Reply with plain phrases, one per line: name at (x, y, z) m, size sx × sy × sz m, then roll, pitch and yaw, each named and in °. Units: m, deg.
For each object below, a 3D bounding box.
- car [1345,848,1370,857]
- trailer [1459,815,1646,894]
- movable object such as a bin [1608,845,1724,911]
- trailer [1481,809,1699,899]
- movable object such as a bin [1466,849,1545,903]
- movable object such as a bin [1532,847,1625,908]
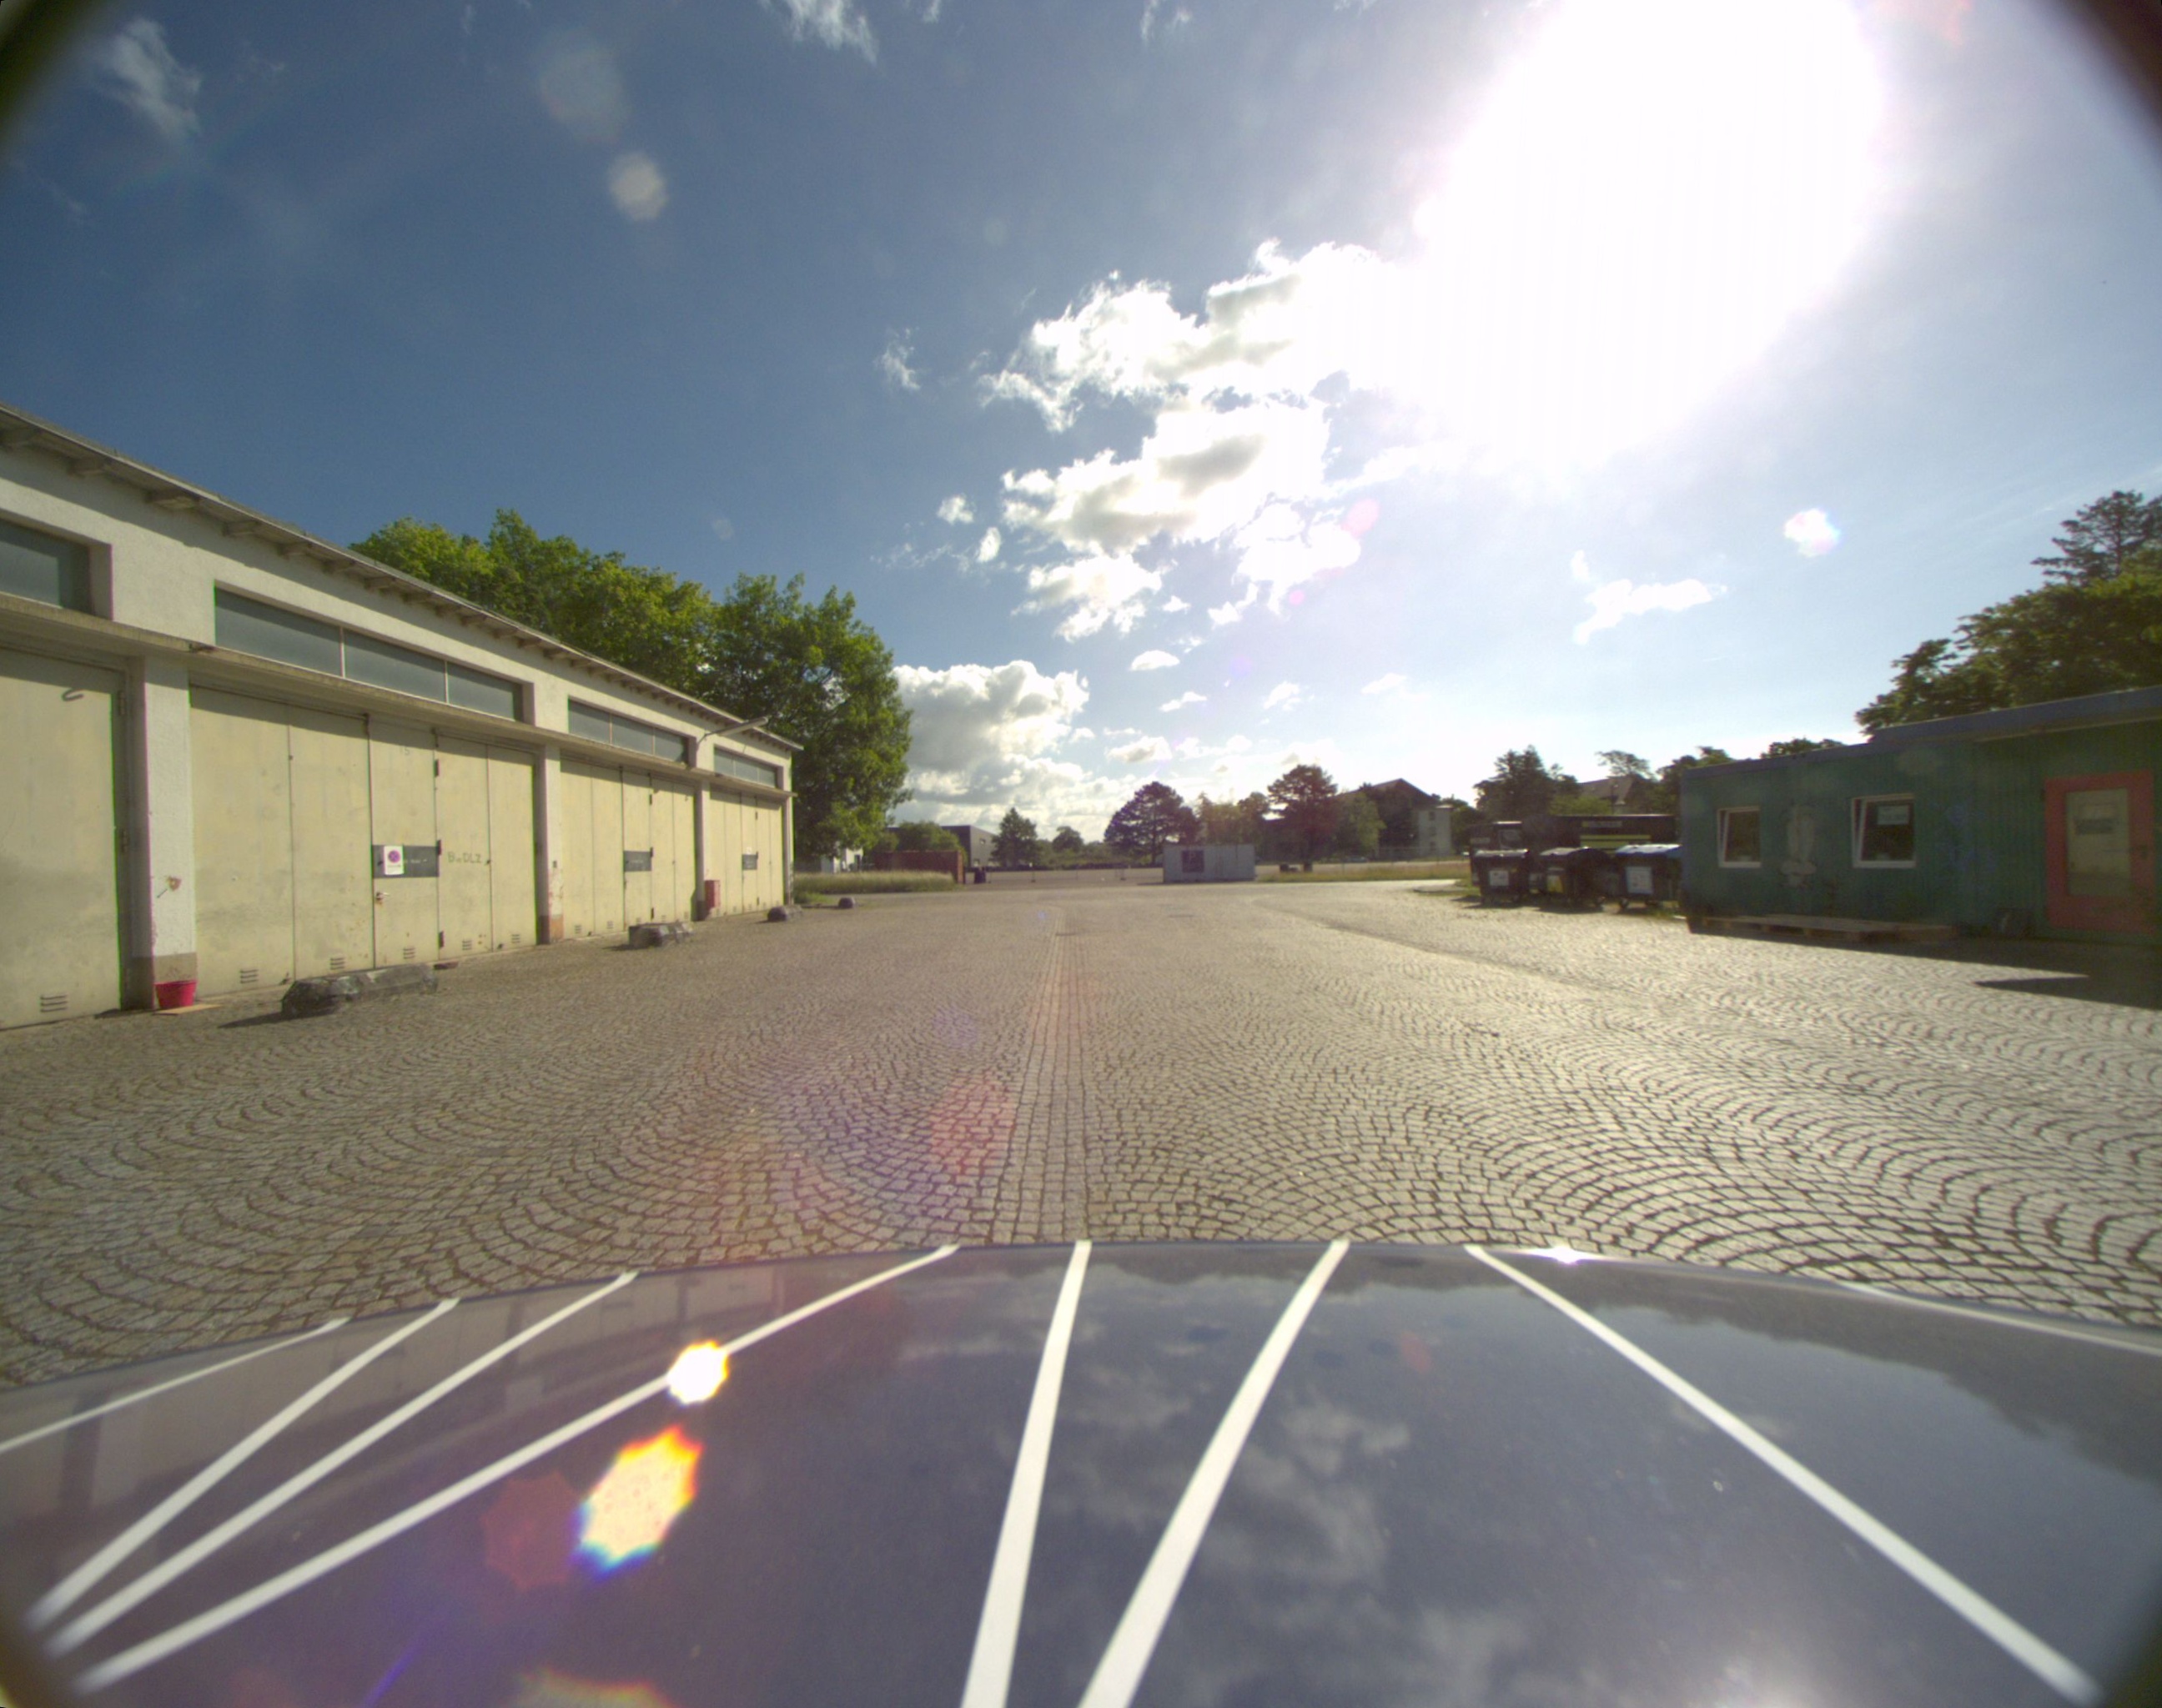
car at (52.205, -0.281, 143.637) m, size 3.998 × 1.573 × 1.999 m, roll -2°, pitch 0°, yaw -5°
trailer at (15.082, 0.016, 24.526) m, size 4.667 × 2.284 × 2.137 m, roll -2°, pitch 0°, yaw 0°
movable object such as a bin at (13.179, 0.525, 17.172) m, size 1.386 × 1.378 × 1.534 m, roll -2°, pitch 0°, yaw -12°
trailer at (14.647, 0.006, 22.035) m, size 4.973 × 2.341 × 2.095 m, roll -2°, pitch 0°, yaw -4°
movable object such as a bin at (11.696, 0.593, 20.943) m, size 1.389 × 1.378 × 1.531 m, roll -2°, pitch 0°, yaw -45°
movable object such as a bin at (12.270, 0.554, 18.809) m, size 1.299 × 1.414 × 1.536 m, roll -2°, pitch 1°, yaw 1°
